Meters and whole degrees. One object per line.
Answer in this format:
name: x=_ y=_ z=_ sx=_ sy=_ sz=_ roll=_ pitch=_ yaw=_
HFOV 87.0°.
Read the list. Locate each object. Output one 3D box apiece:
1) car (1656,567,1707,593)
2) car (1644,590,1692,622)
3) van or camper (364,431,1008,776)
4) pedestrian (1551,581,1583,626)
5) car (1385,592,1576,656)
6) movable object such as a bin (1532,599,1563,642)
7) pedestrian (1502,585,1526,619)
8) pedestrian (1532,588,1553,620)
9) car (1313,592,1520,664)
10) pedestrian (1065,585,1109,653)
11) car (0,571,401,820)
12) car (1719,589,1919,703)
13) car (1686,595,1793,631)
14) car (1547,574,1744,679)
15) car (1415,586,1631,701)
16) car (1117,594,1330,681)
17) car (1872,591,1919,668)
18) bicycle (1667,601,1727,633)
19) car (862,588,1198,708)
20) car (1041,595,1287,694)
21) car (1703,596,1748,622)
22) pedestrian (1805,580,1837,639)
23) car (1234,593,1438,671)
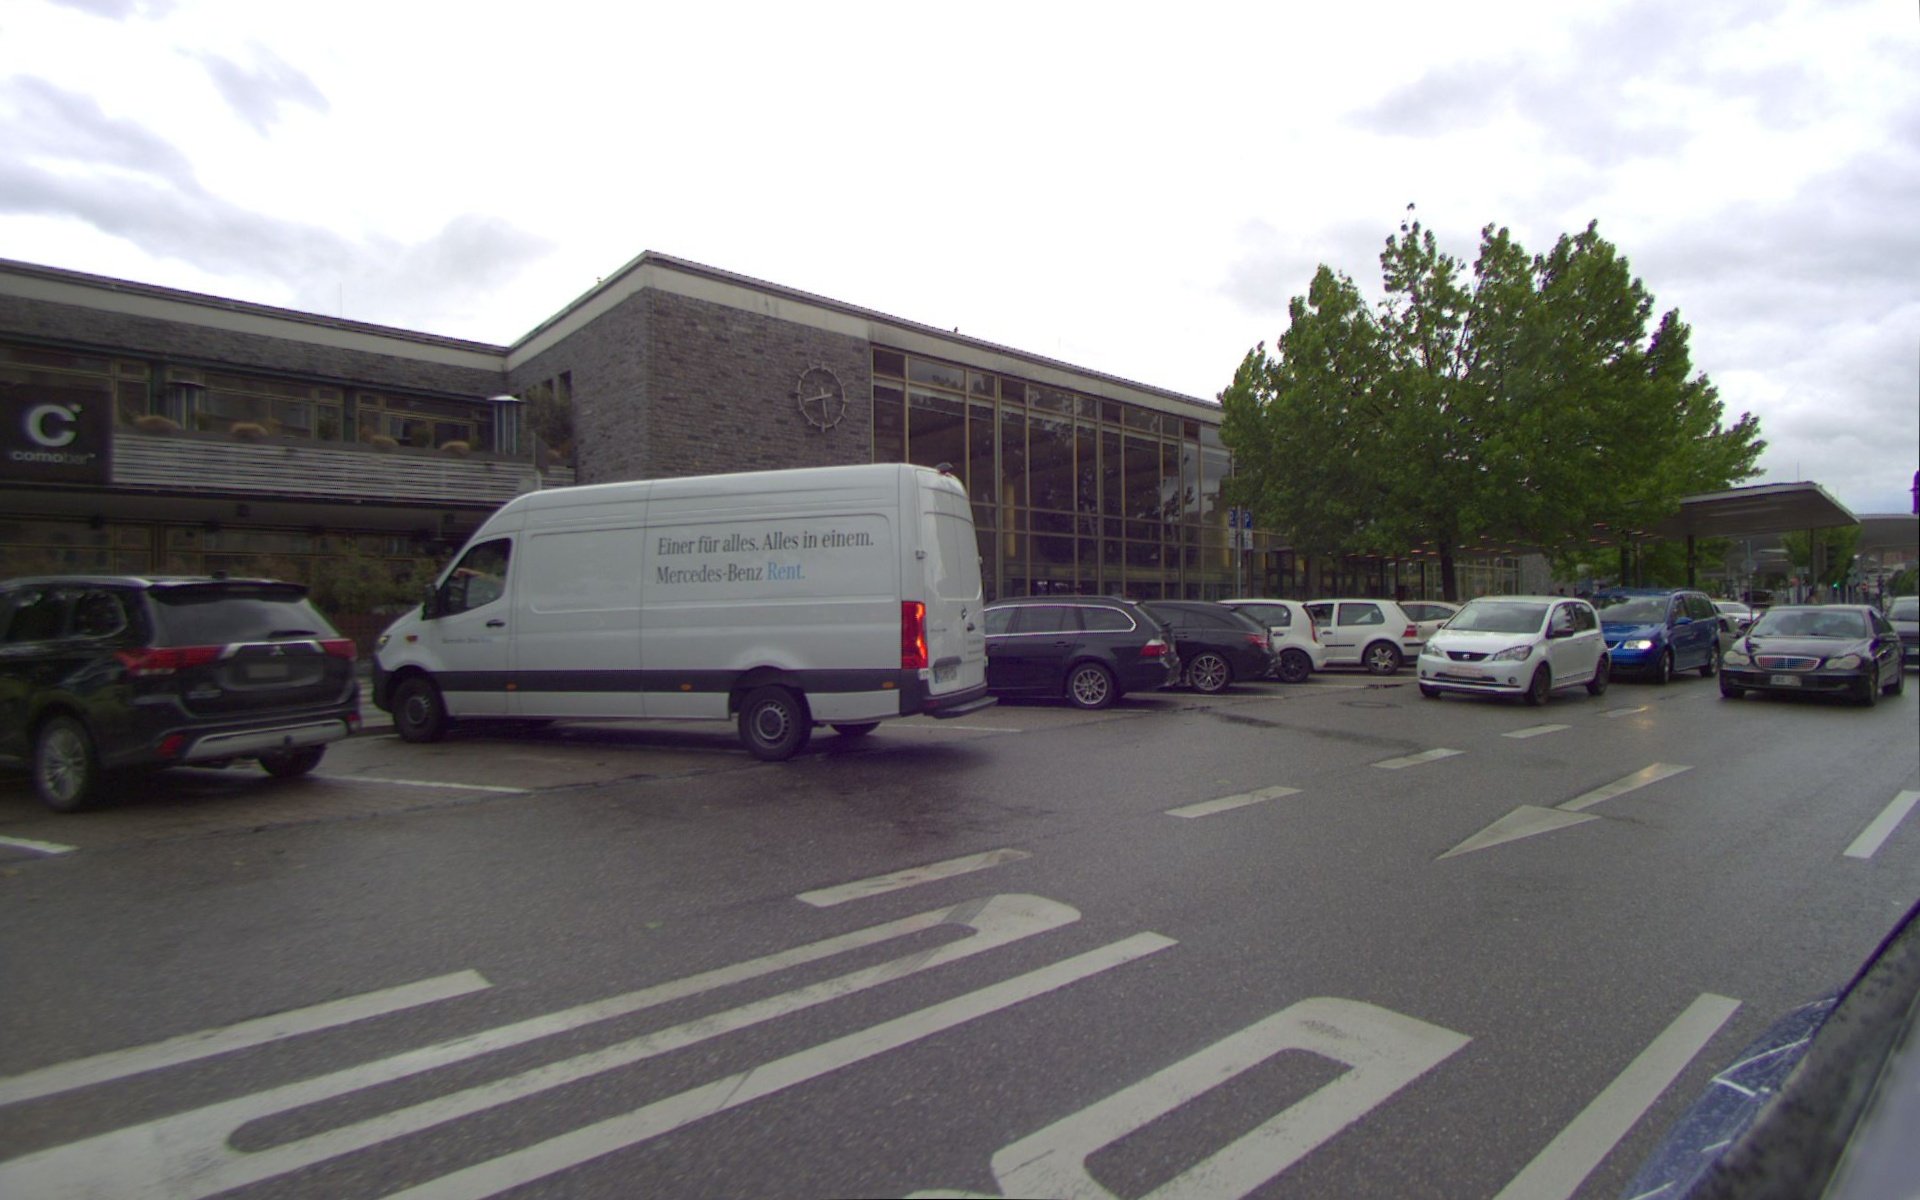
car: x=43.700 y=-1.205 z=61.269 sx=1.816 sy=1.510 sz=4.393 roll=0 pitch=0 yaw=45
car: x=36.234 y=0.263 z=51.754 sx=1.811 sy=1.575 sz=4.403 roll=0 pitch=0 yaw=38
van or camper: x=-2.890 y=-0.001 z=10.666 sx=6.446 sy=2.906 sz=2.266 roll=0 pitch=0 yaw=19
pedestrian: x=24.515 y=0.145 z=40.882 sx=0.896 sy=1.780 sz=0.824 roll=0 pitch=0 yaw=-36
car: x=12.248 y=0.512 z=24.014 sx=3.894 sy=1.417 sz=1.762 roll=0 pitch=0 yaw=28
movable object such as a bin: x=15.764 y=0.542 z=27.145 sx=0.686 sy=1.121 sz=0.542 roll=0 pitch=0 yaw=34
pedestrian: x=25.849 y=0.084 z=47.222 sx=0.838 sy=1.530 sz=0.761 roll=0 pitch=0 yaw=-42
pedestrian: x=31.126 y=0.218 z=54.093 sx=0.838 sy=1.669 sz=0.761 roll=0 pitch=0 yaw=-42
car: x=9.602 y=0.541 z=21.627 sx=3.882 sy=1.417 sz=1.768 roll=0 pitch=0 yaw=20
pedestrian: x=3.219 y=0.464 z=25.608 sx=0.819 sy=1.662 sz=0.757 roll=0 pitch=0 yaw=-42
car: x=-6.964 y=0.614 z=8.346 sx=4.184 sy=1.655 sz=1.871 roll=0 pitch=0 yaw=20
car: x=13.005 y=0.591 z=15.186 sx=3.759 sy=1.493 sz=1.870 roll=0 pitch=0 yaw=-41
car: x=34.207 y=0.526 z=44.549 sx=1.789 sy=1.510 sz=4.153 roll=0 pitch=0 yaw=6
car: x=12.625 y=0.422 z=18.540 sx=4.337 sy=1.704 sz=1.824 roll=0 pitch=0 yaw=-39
car: x=8.377 y=0.552 z=14.964 sx=3.525 sy=1.493 sz=1.660 roll=0 pitch=0 yaw=-40
car: x=4.773 y=0.617 z=18.281 sx=3.575 sy=1.417 sz=1.768 roll=0 pitch=0 yaw=20
car: x=20.228 y=0.568 z=20.653 sx=3.757 sy=1.493 sz=1.871 roll=0 pitch=0 yaw=-39
bicycle: x=26.371 y=0.589 z=36.219 sx=1.712 sy=1.059 sz=0.518 roll=1 pitch=1 yaw=39
car: x=1.010 y=0.579 z=14.265 sx=4.413 sy=1.490 sz=1.908 roll=0 pitch=0 yaw=19
car: x=3.268 y=0.635 z=16.127 sx=3.644 sy=1.417 sz=1.768 roll=0 pitch=0 yaw=20
car: x=48.954 y=0.569 z=64.688 sx=1.816 sy=1.611 sz=4.011 roll=0 pitch=0 yaw=45
pedestrian: x=26.014 y=0.280 z=30.585 sx=0.686 sy=1.773 sz=0.561 roll=0 pitch=1 yaw=-37
car: x=7.290 y=0.573 z=19.840 sx=3.575 sy=1.417 sz=1.768 roll=0 pitch=0 yaw=20
